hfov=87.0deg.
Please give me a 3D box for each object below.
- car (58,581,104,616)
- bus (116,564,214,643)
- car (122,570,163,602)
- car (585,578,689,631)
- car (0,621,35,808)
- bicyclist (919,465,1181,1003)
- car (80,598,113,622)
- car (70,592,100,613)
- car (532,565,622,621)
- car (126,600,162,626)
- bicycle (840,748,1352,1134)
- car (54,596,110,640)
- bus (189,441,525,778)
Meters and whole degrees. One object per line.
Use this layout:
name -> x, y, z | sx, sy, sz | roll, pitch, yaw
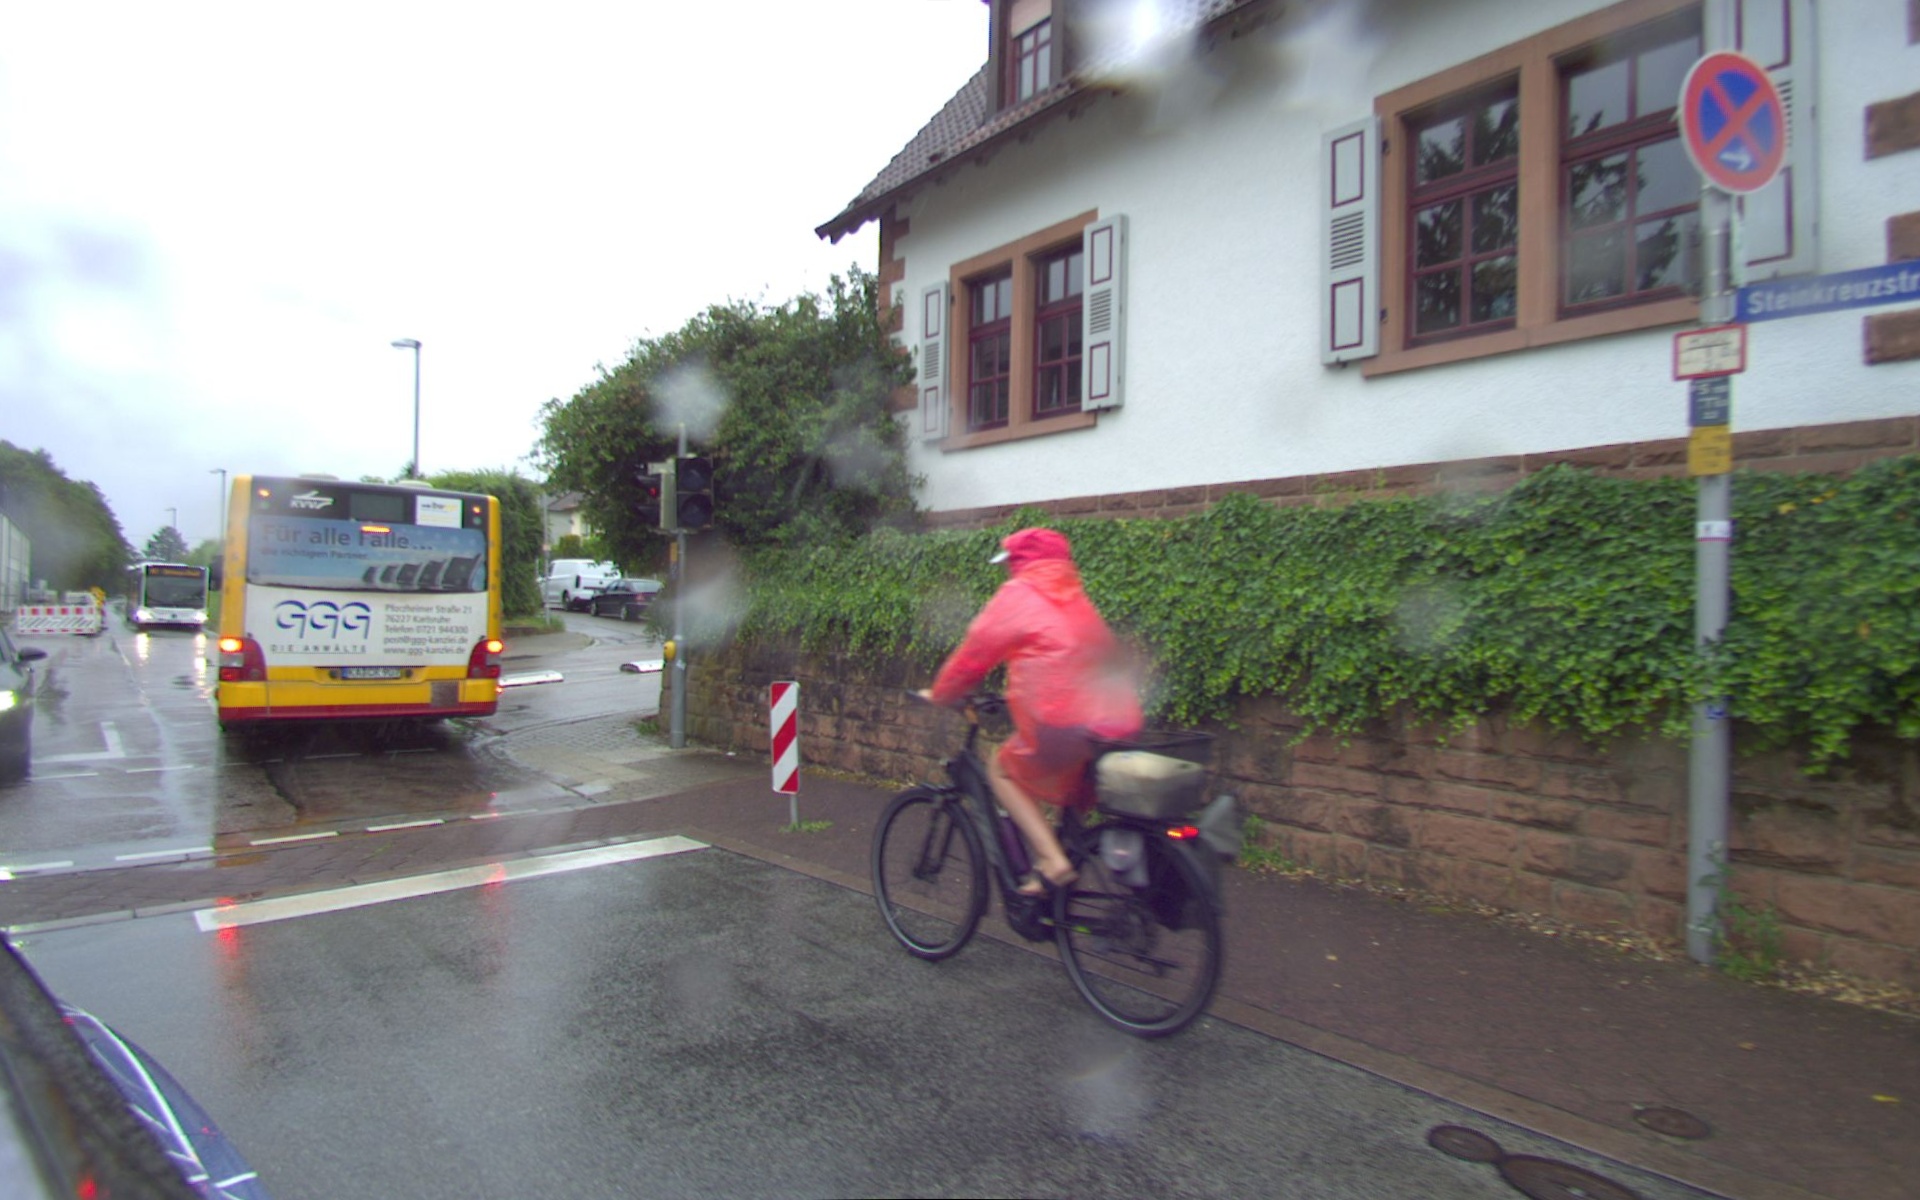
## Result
car -> -46.648, -0.103, 53.727 | 1.753, 1.811, 4.194 | 0, 0, -41
bus -> -39.827, 0.196, 50.541 | 3.388, 3.437, 13.895 | 2, -1, -39
car -> -48.314, -0.807, 59.762 | 1.753, 1.811, 4.194 | 0, 0, -41
car -> -11.310, 0.130, 35.247 | 1.969, 1.728, 4.194 | -1, 0, -41
car -> -9.526, 0.932, 9.023 | 1.753, 1.366, 4.194 | 0, 0, -41
bicyclist -> 0.332, 0.453, 3.847 | 0.649, 1.783, 0.704 | 0, -2, -42
car -> -62.659, 0.719, 73.414 | 1.753, 1.623, 4.194 | 0, 1, -41
car -> -69.164, 0.178, 80.026 | 1.753, 1.623, 4.194 | 0, 0, -41
car -> -15.043, -0.273, 39.669 | 1.969, 2.078, 4.194 | -1, 0, -41
car -> -55.392, 0.861, 68.696 | 1.753, 1.623, 4.194 | 0, 1, -41
bicycle -> 0.380, 1.100, 3.805 | 0.653, 0.877, 1.937 | 0, -2, -42
car -> -38.225, 0.753, 44.091 | 1.753, 1.811, 4.194 | 0, 0, -41
bus -> -9.145, 0.117, 14.578 | 2.769, 2.961, 11.970 | 0, -1, -36
